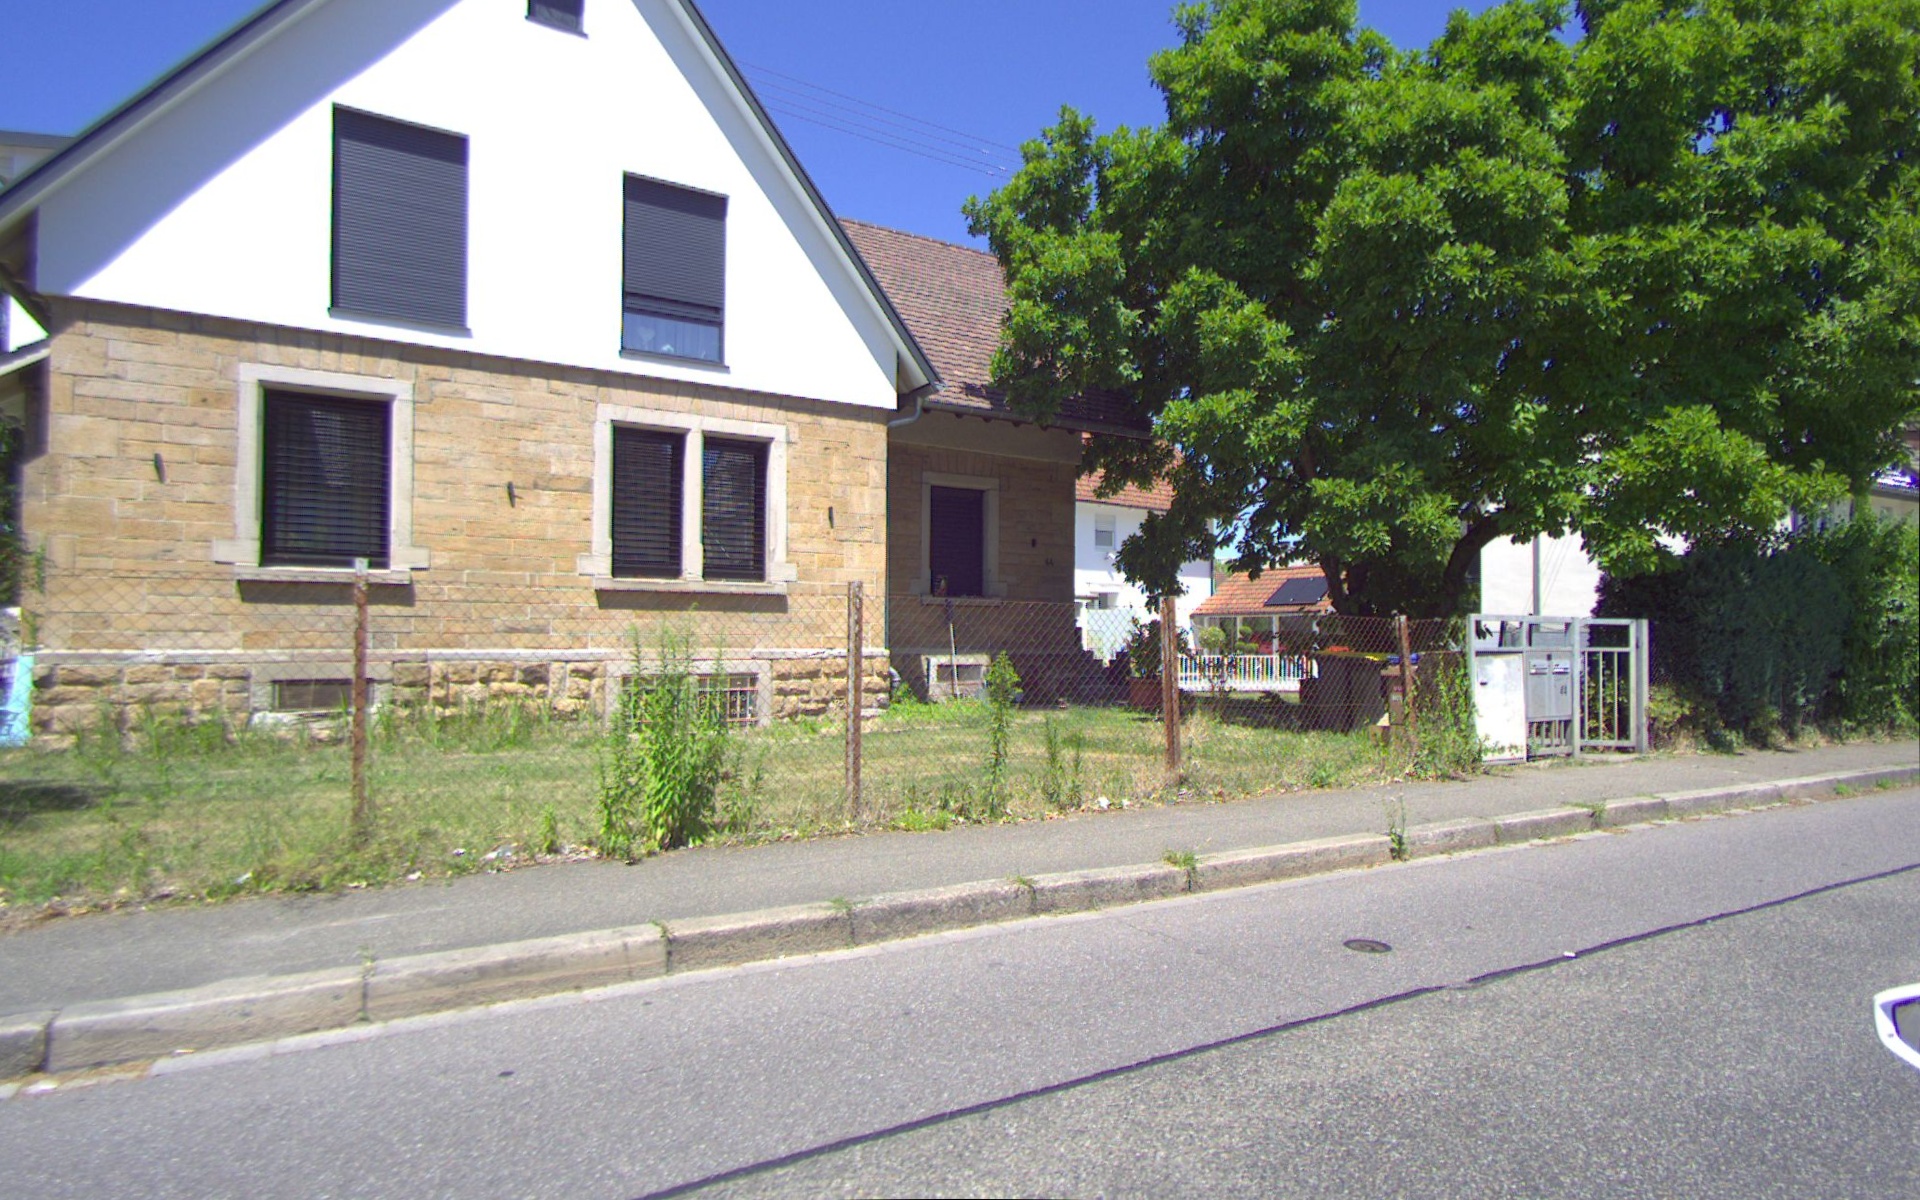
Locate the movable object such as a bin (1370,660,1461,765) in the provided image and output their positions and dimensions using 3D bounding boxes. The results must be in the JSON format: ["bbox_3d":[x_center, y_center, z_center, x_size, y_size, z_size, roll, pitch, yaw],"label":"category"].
[{"bbox_3d":[4.678,1.135,10.334,0.468,1.009,0.704,2,-1,-32],"label":"movable object such as a bin"}]

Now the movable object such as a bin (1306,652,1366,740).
[{"bbox_3d":[4.565,1.158,12.213,0.500,1.023,0.465,2,-1,-30],"label":"movable object such as a bin"}]

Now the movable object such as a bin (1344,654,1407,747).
[{"bbox_3d":[4.842,1.157,11.716,0.500,1.023,0.465,2,-1,-30],"label":"movable object such as a bin"}]

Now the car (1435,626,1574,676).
[{"bbox_3d":[19.228,1.782,35.636,1.782,1.530,3.961,2,0,-34],"label":"car"}]

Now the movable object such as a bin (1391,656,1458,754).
[{"bbox_3d":[5.153,1.149,11.142,0.500,1.023,0.465,2,-1,-30],"label":"movable object such as a bin"}]
